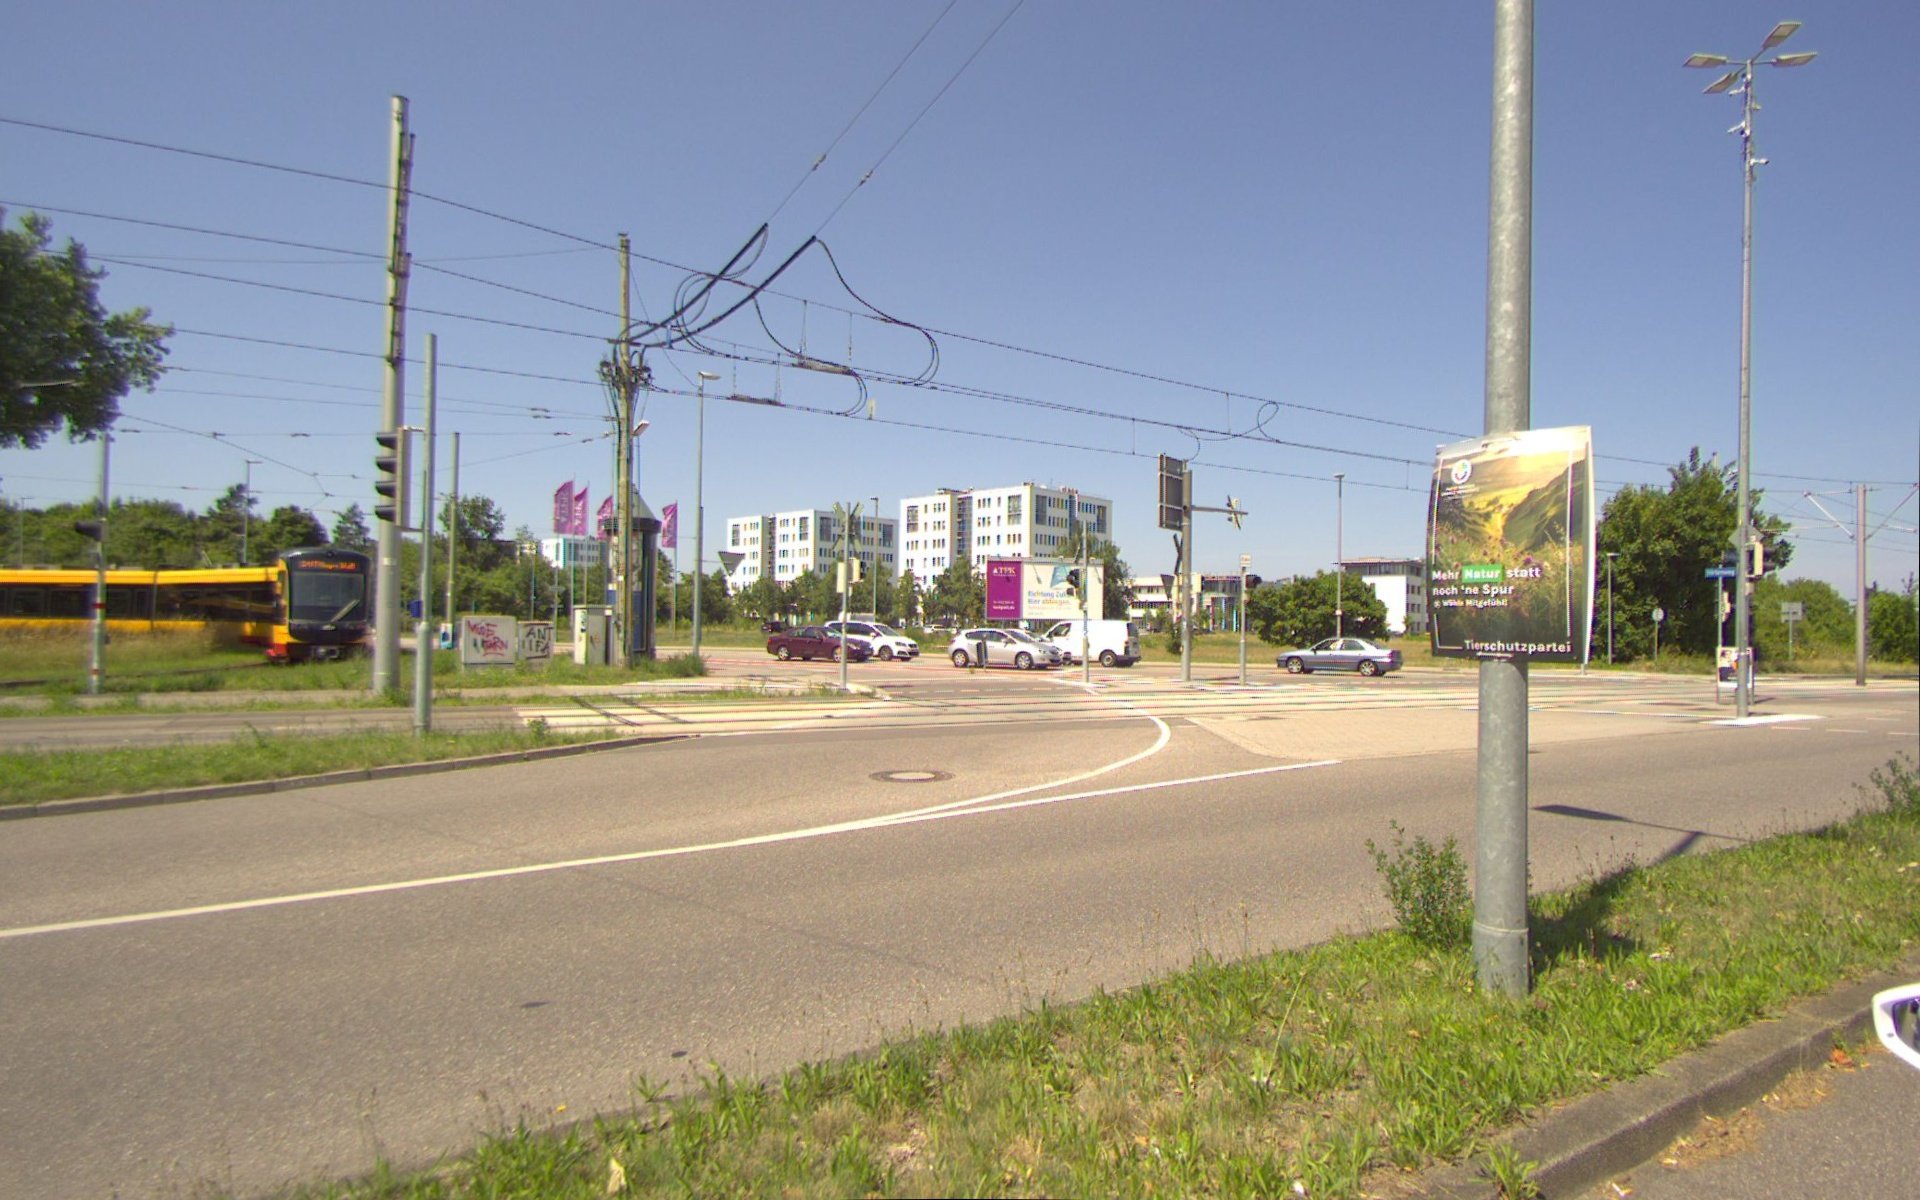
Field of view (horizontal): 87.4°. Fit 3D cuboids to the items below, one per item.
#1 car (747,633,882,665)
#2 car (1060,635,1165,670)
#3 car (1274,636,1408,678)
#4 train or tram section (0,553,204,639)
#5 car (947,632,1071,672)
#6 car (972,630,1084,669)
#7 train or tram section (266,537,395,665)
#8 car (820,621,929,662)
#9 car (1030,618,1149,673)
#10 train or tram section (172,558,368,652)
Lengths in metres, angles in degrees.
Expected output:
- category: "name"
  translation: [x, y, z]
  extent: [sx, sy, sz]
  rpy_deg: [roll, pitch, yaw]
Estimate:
- category: "car"
  translation: [-5.953, 1.974, 41.109]
  extent: [5.135, 1.147, 1.899]
  rpy_deg: [0, 0, 18]
- category: "car"
  translation: [6.878, 2.330, 45.479]
  extent: [4.362, 1.390, 1.890]
  rpy_deg: [0, 0, 39]
- category: "car"
  translation: [14.271, 2.094, 37.714]
  extent: [4.357, 1.390, 1.892]
  rpy_deg: [0, 0, 35]
- category: "train or tram section"
  translation: [-40.607, -0.251, 44.916]
  extent: [12.491, 3.512, 3.048]
  rpy_deg: [2, 0, 10]
- category: "car"
  translation: [1.835, 1.912, 37.550]
  extent: [4.204, 1.311, 1.996]
  rpy_deg: [0, 0, 30]
- category: "car"
  translation: [2.771, 1.997, 41.327]
  extent: [4.203, 1.431, 1.896]
  rpy_deg: [0, 0, 29]
- category: "train or tram section"
  translation: [-21.168, -0.016, 33.957]
  extent: [3.012, 3.512, 13.176]
  rpy_deg: [1, 0, -32]
- category: "car"
  translation: [-3.788, 1.818, 44.512]
  extent: [4.456, 1.660, 1.997]
  rpy_deg: [0, 0, 28]
- category: "car"
  translation: [5.504, 1.888, 42.833]
  extent: [4.661, 2.139, 1.997]
  rpy_deg: [0, 0, 28]
- category: "train or tram section"
  translation: [-28.777, 0.103, 41.677]
  extent: [10.047, 3.512, 3.038]
  rpy_deg: [1, 0, 33]
